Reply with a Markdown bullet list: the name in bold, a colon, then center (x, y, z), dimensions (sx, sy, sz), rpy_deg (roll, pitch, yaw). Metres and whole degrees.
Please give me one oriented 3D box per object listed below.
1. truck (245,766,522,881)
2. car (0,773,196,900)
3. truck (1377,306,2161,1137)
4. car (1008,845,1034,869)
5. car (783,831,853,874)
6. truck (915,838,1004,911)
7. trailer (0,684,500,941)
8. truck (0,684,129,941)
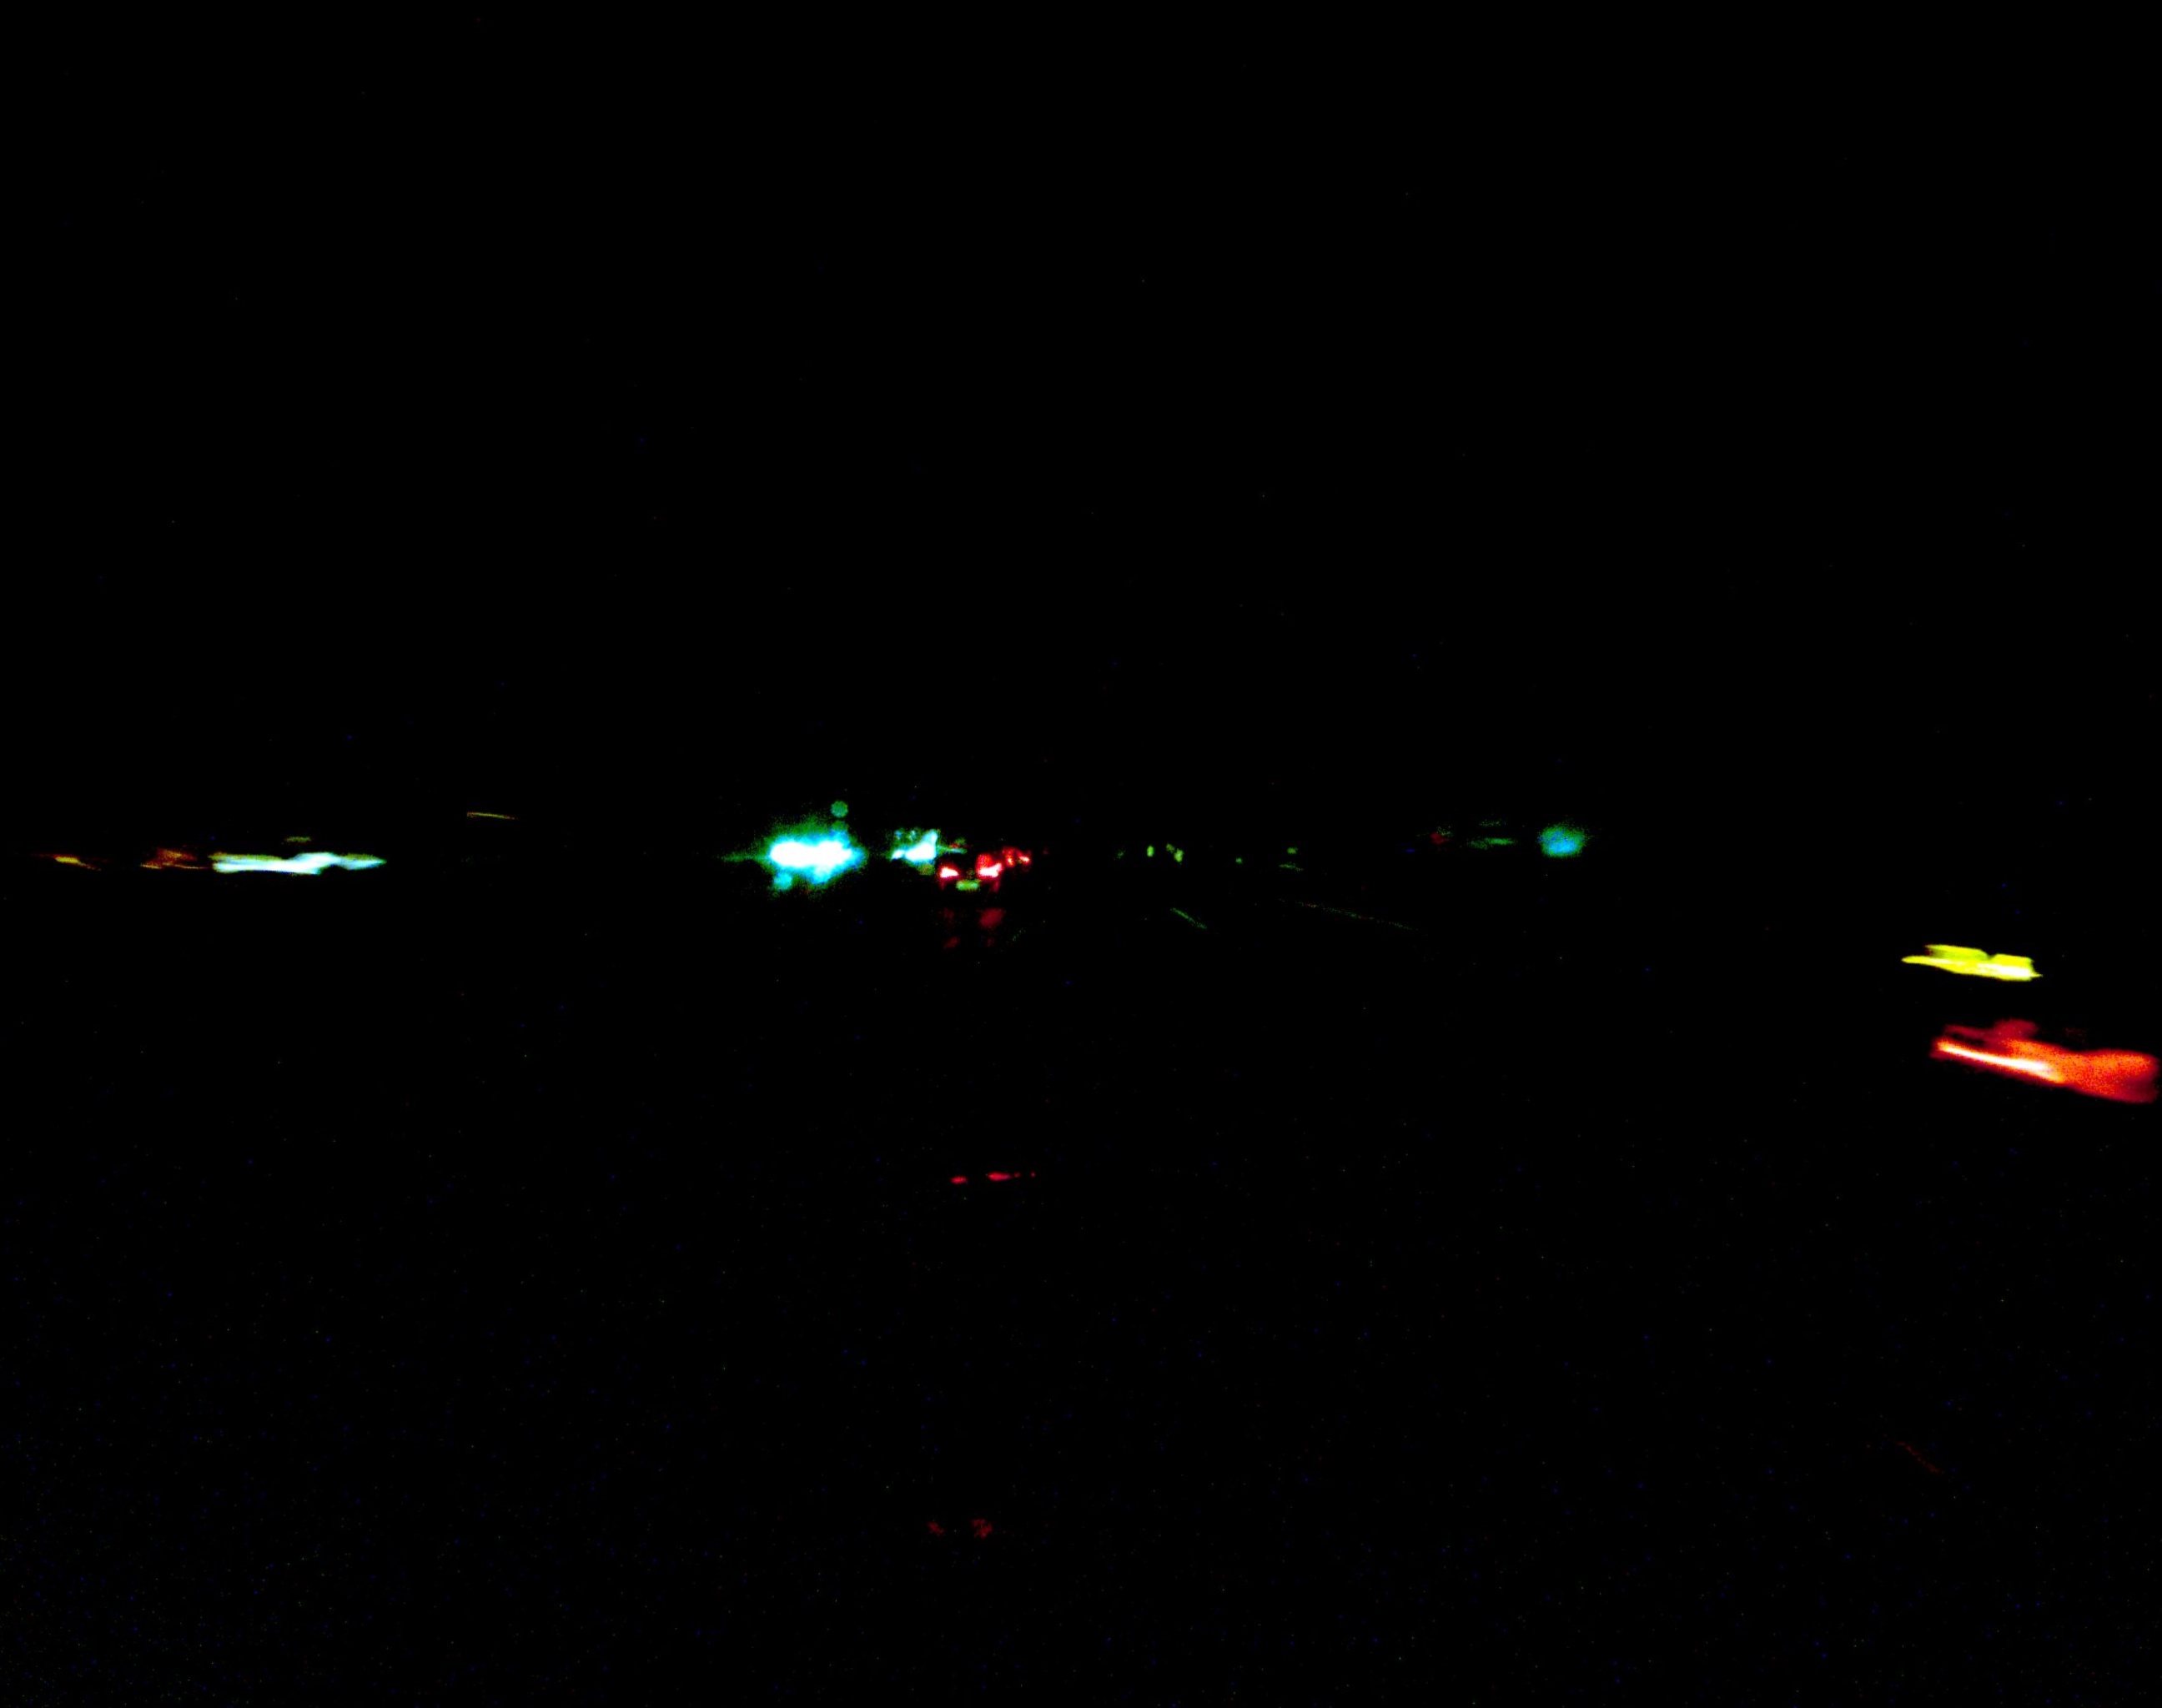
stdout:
- **truck**: center (-19.055, -0.750, 22.847), dimensions (2.277, 2.671, 6.122), rpy_deg (3, 0, 1)
- **car**: center (-15.367, -0.290, 11.169), dimensions (1.987, 1.686, 4.001), rpy_deg (3, 2, 0)
- **truck**: center (4.774, -0.702, 6.860), dimensions (2.700, 4.241, 5.295), rpy_deg (-1, 0, 2)
- **car**: center (-5.669, 0.244, 77.137), dimensions (1.987, 2.013, 4.000), rpy_deg (3, 1, 0)
- **car**: center (-13.500, -0.144, 42.158), dimensions (1.989, 2.013, 5.192), rpy_deg (3, 2, -3)
- **truck**: center (-3.977, 0.552, 27.831), dimensions (2.139, 2.077, 6.602), rpy_deg (0, 2, -1)
- **trailer**: center (-22.865, -1.077, 22.662), dimensions (2.763, 5.090, 14.930), rpy_deg (3, 2, -1)
- **truck**: center (-22.756, -0.856, 15.273), dimensions (2.744, 5.097, 5.880), rpy_deg (3, 1, -1)
